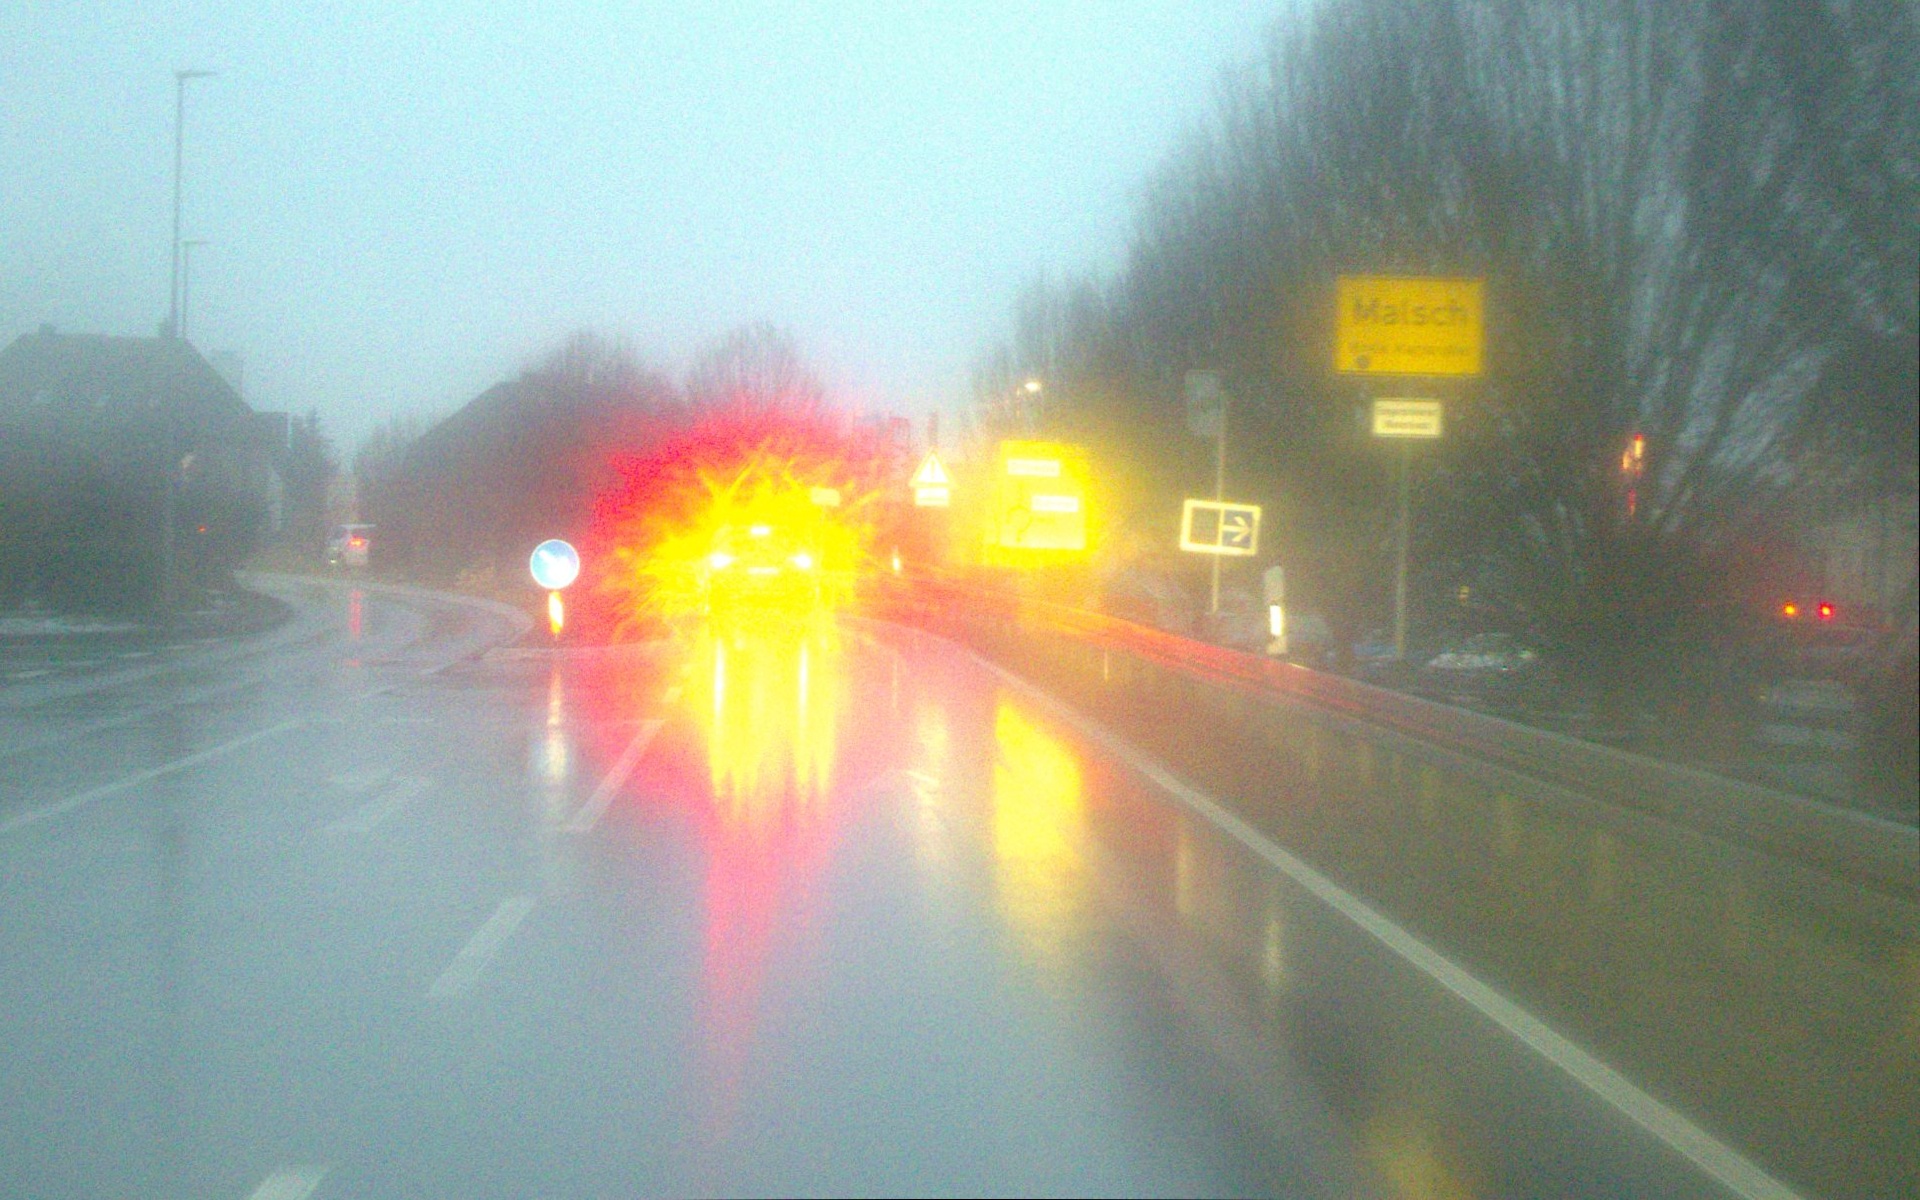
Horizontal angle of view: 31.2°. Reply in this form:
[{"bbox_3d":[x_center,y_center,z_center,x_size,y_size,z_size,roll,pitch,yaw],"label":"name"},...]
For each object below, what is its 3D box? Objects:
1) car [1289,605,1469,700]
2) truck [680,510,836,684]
[{"bbox_3d":[9.542,1.211,78.460,3.988,2.007,1.999,1,-2,6],"label":"car"},{"bbox_3d":[-3.642,-0.113,61.473,2.531,2.859,5.923,2,1,-4],"label":"truck"}]
